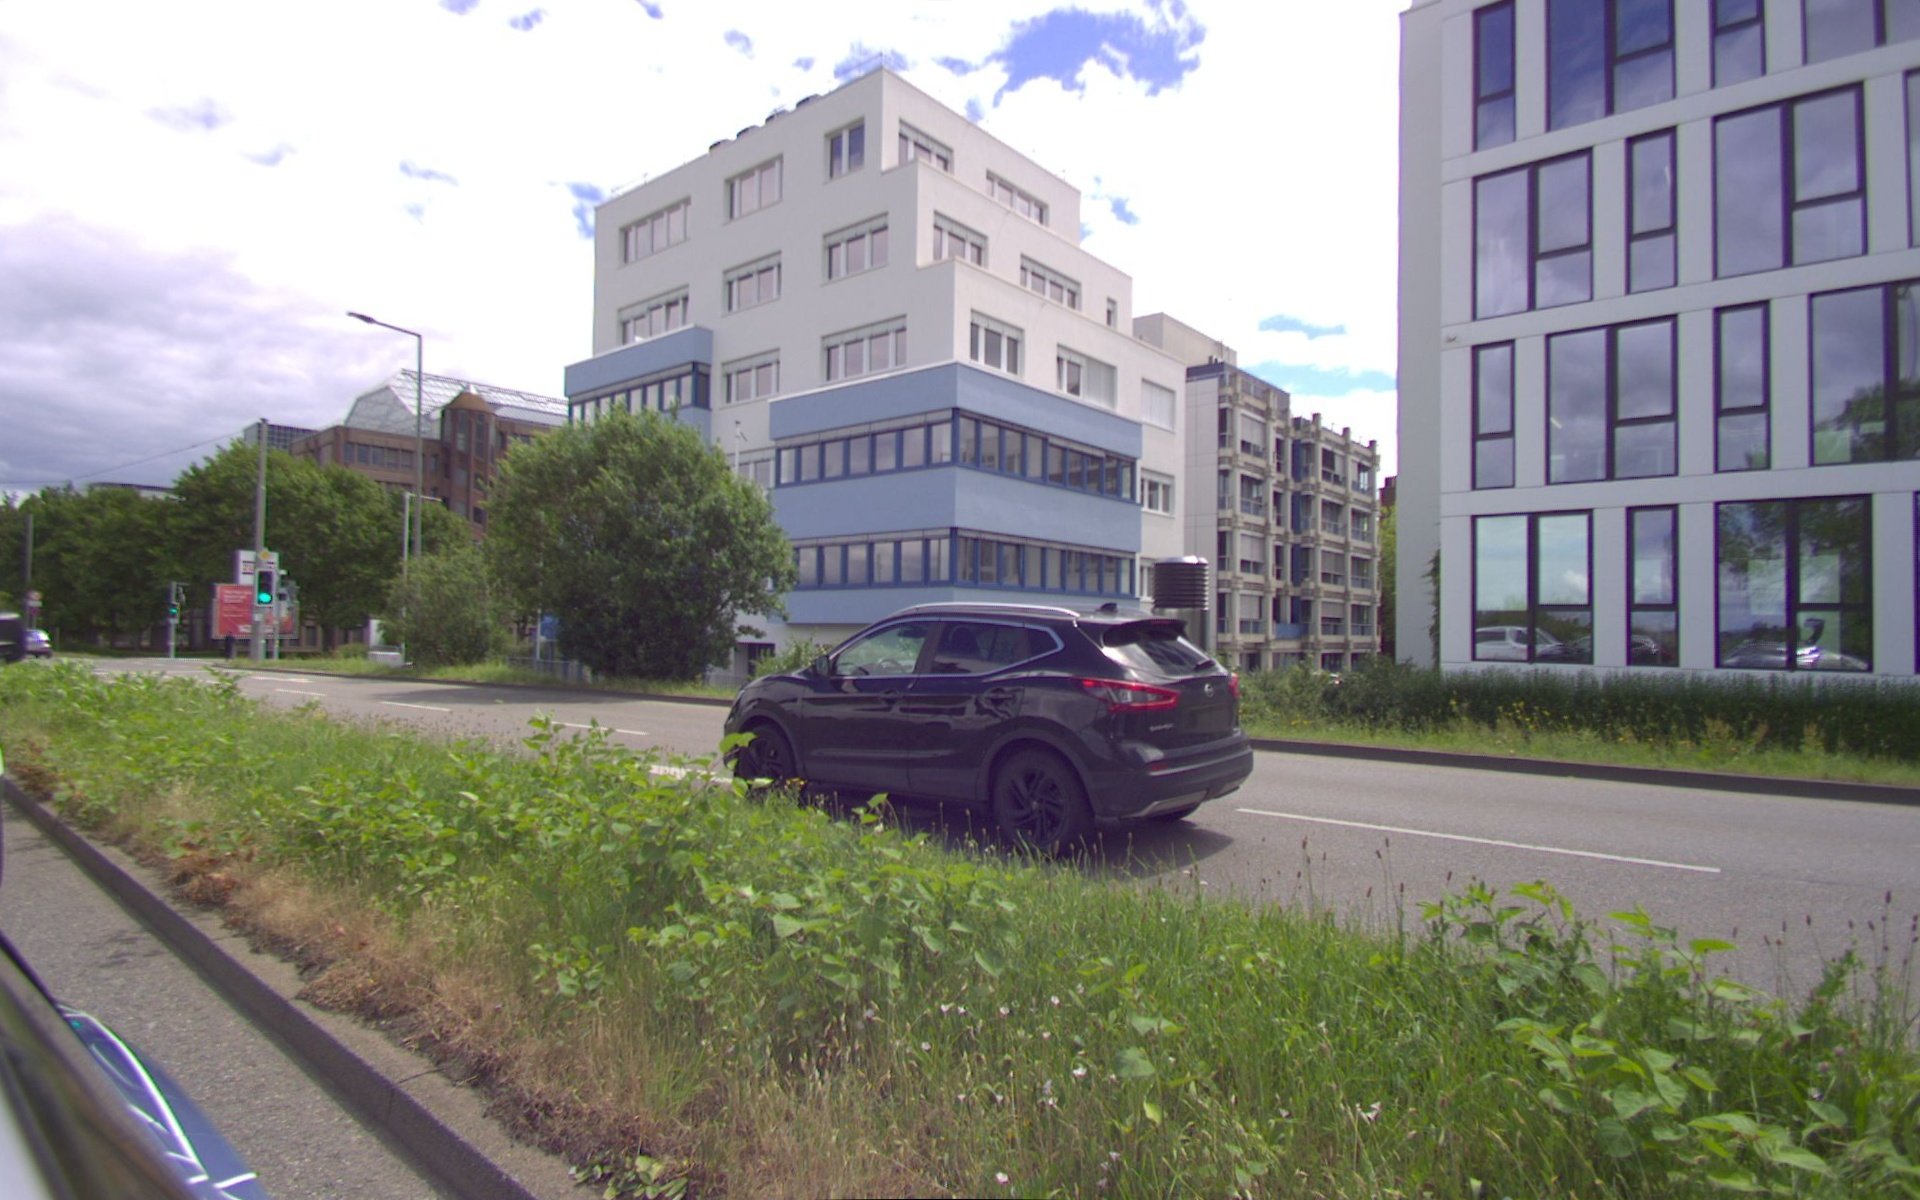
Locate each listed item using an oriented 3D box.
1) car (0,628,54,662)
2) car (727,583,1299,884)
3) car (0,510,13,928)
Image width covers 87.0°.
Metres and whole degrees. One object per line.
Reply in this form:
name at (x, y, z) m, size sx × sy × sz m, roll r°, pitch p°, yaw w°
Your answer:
car at (-46.563, 2.209, 50.302) m, size 3.445 × 1.515 × 1.631 m, roll -1°, pitch 0°, yaw 37°
car at (0.193, 0.754, 7.432) m, size 4.042 × 1.614 × 1.678 m, roll -1°, pitch -2°, yaw 41°
car at (-7.024, 0.607, 5.732) m, size 5.052 × 1.965 × 1.942 m, roll -2°, pitch -1°, yaw 41°
